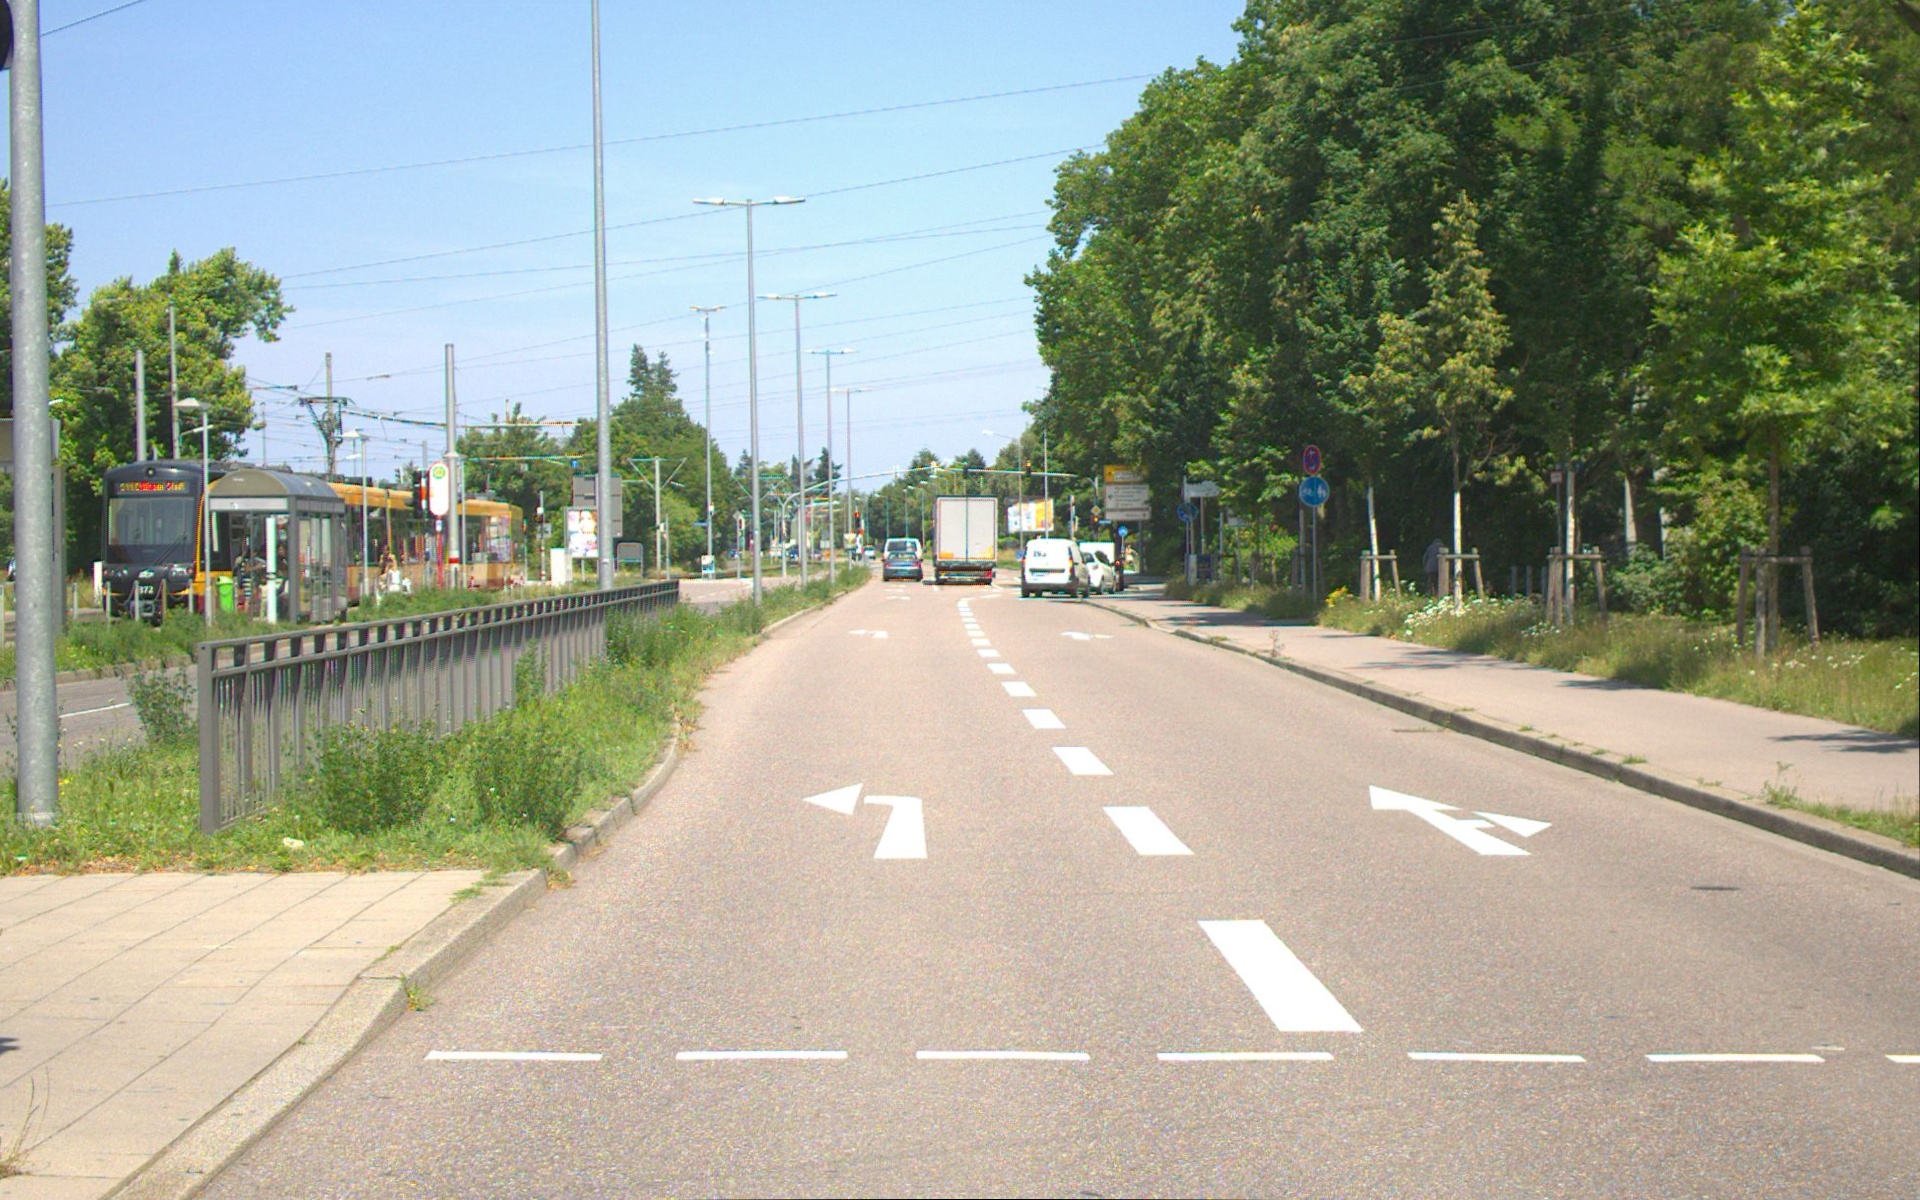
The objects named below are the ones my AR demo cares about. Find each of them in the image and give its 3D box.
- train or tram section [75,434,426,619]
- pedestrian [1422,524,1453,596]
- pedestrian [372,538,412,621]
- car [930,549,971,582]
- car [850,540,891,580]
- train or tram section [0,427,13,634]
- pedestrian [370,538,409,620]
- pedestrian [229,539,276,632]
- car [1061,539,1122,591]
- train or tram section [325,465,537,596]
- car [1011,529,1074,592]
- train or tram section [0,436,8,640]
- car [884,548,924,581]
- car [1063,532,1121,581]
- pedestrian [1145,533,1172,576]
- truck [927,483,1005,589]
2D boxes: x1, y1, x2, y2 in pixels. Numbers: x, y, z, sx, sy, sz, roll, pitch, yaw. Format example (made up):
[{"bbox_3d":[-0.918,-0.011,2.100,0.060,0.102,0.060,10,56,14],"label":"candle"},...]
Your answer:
[{"bbox_3d":[-16.785,-1.766,85.017,2.957,3.736,30.035,0,1,-1],"label":"train or tram section"},{"bbox_3d":[9.513,-0.803,68.505,0.604,1.433,0.556,0,1,6],"label":"pedestrian"},{"bbox_3d":[-13.819,-0.507,83.653,0.815,2.007,0.938,0,1,-1],"label":"pedestrian"},{"bbox_3d":[-0.436,-1.554,153.616,1.811,1.459,4.000,0,1,-1],"label":"car"},{"bbox_3d":[-4.556,-2.071,175.164,1.993,2.007,4.000,0,1,-1],"label":"car"},{"bbox_3d":[-19.563,-1.164,56.958,3.215,3.918,18.502,0,1,-2],"label":"train or tram section"},{"bbox_3d":[-14.097,-0.524,84.946,0.815,2.007,0.938,0,1,-1],"label":"pedestrian"},{"bbox_3d":[-14.259,-0.302,69.301,0.785,1.862,0.817,0,1,-1],"label":"pedestrian"},{"bbox_3d":[4.295,-1.149,112.444,1.779,1.663,4.000,0,1,-1],"label":"car"},{"bbox_3d":[-17.421,-2.321,116.533,2.931,3.776,33.090,0,1,-2],"label":"train or tram section"},{"bbox_3d":[2.507,-1.220,105.514,1.779,1.897,4.000,0,1,-1],"label":"car"},{"bbox_3d":[-23.576,-1.287,73.966,3.215,3.918,18.504,-1,1,-24],"label":"train or tram section"},{"bbox_3d":[-2.560,-1.648,157.883,1.811,1.459,4.000,0,1,-1],"label":"car"},{"bbox_3d":[4.545,-1.513,118.787,1.779,1.663,4.000,0,1,-1],"label":"car"},{"bbox_3d":[9.444,-2.170,163.276,1.185,2.007,1.214,0,1,0],"label":"pedestrian"},{"bbox_3d":[0.210,-2.716,146.051,3.205,4.344,6.561,0,1,-1],"label":"truck"}]
